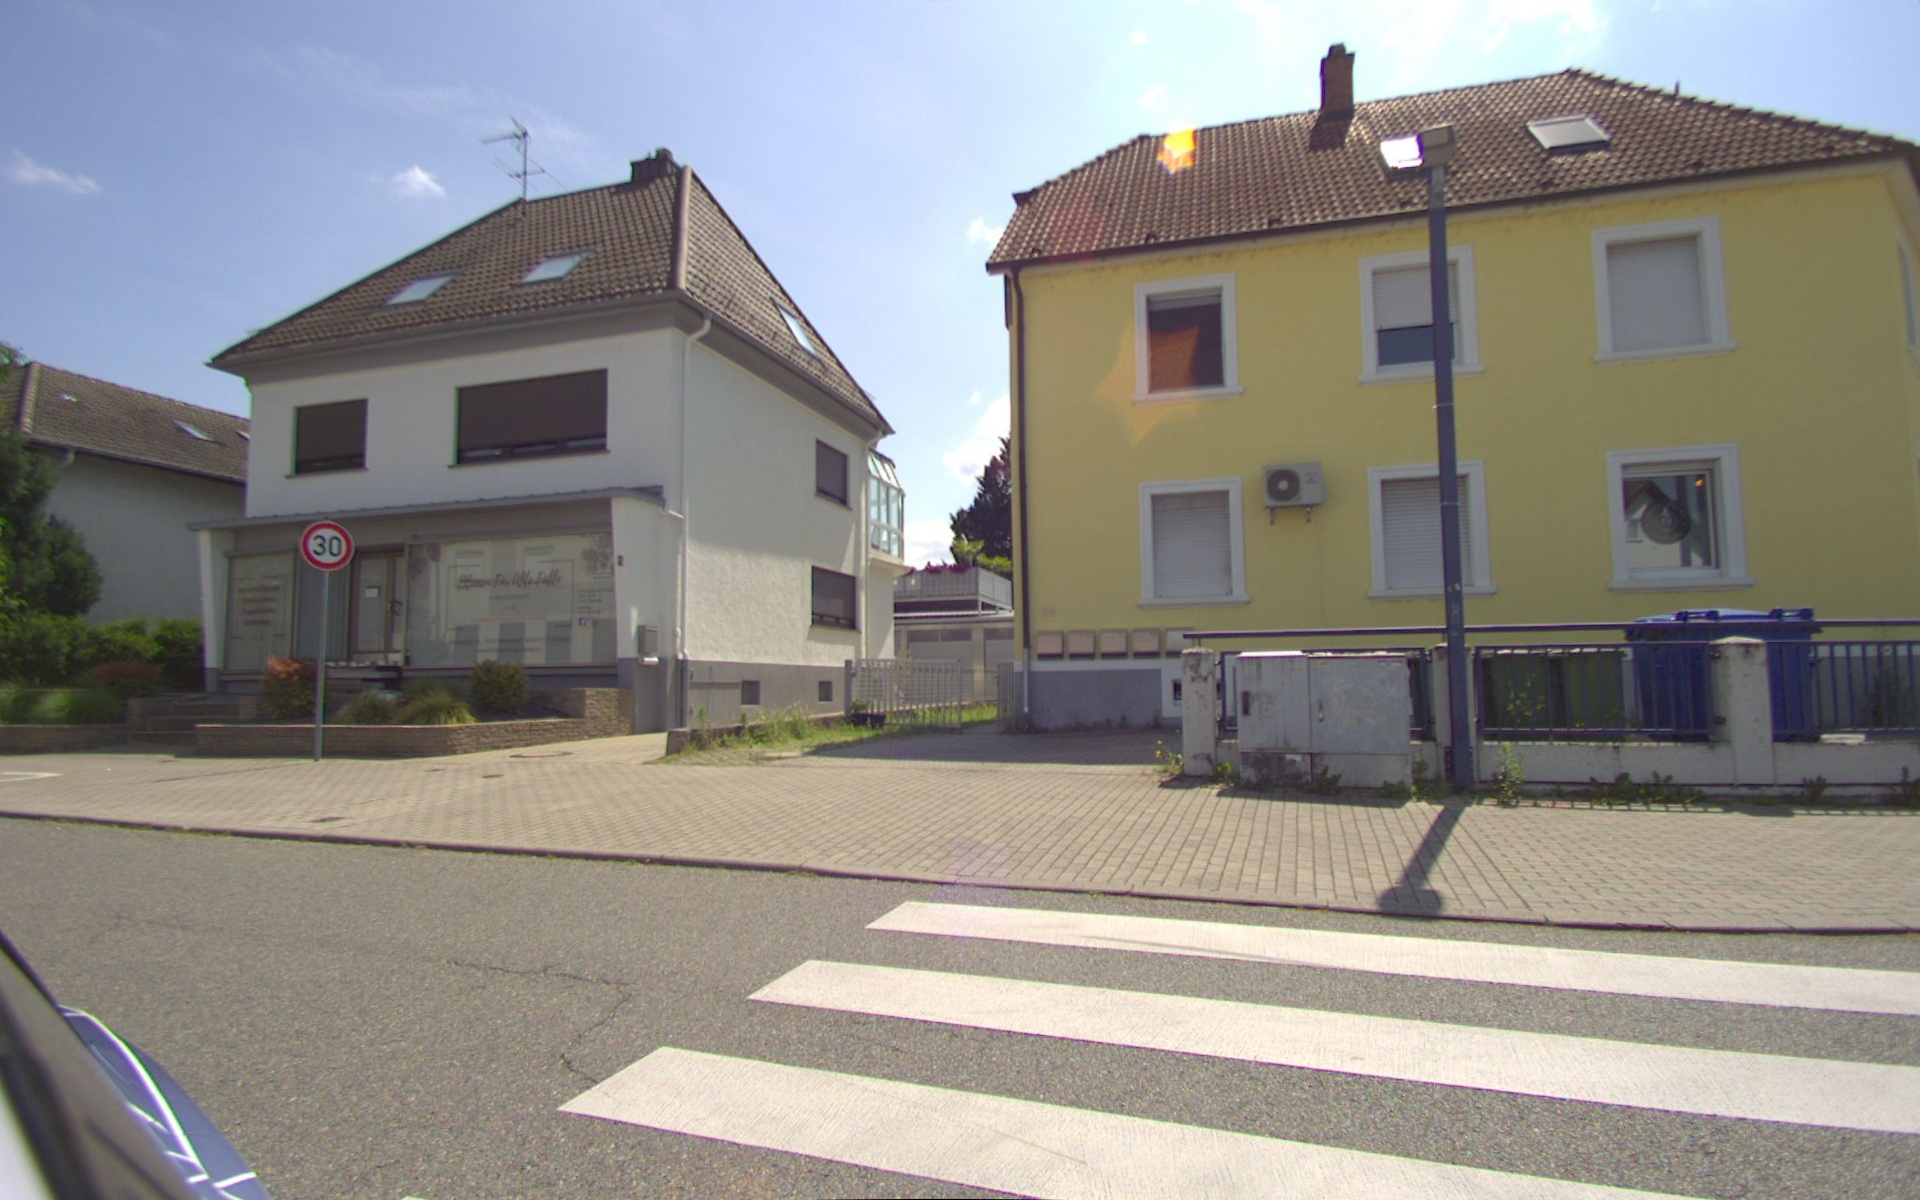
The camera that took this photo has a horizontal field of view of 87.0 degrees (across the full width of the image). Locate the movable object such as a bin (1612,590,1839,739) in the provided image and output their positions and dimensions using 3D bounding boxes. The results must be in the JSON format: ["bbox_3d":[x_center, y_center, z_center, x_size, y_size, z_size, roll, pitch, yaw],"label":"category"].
[{"bbox_3d":[6.657,0.570,8.881,1.260,1.223,0.841,-1,-4,5],"label":"movable object such as a bin"}]

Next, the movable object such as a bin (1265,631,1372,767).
[{"bbox_3d":[3.463,0.948,9.812,0.895,1.235,0.882,-2,-4,20],"label":"movable object such as a bin"}]
